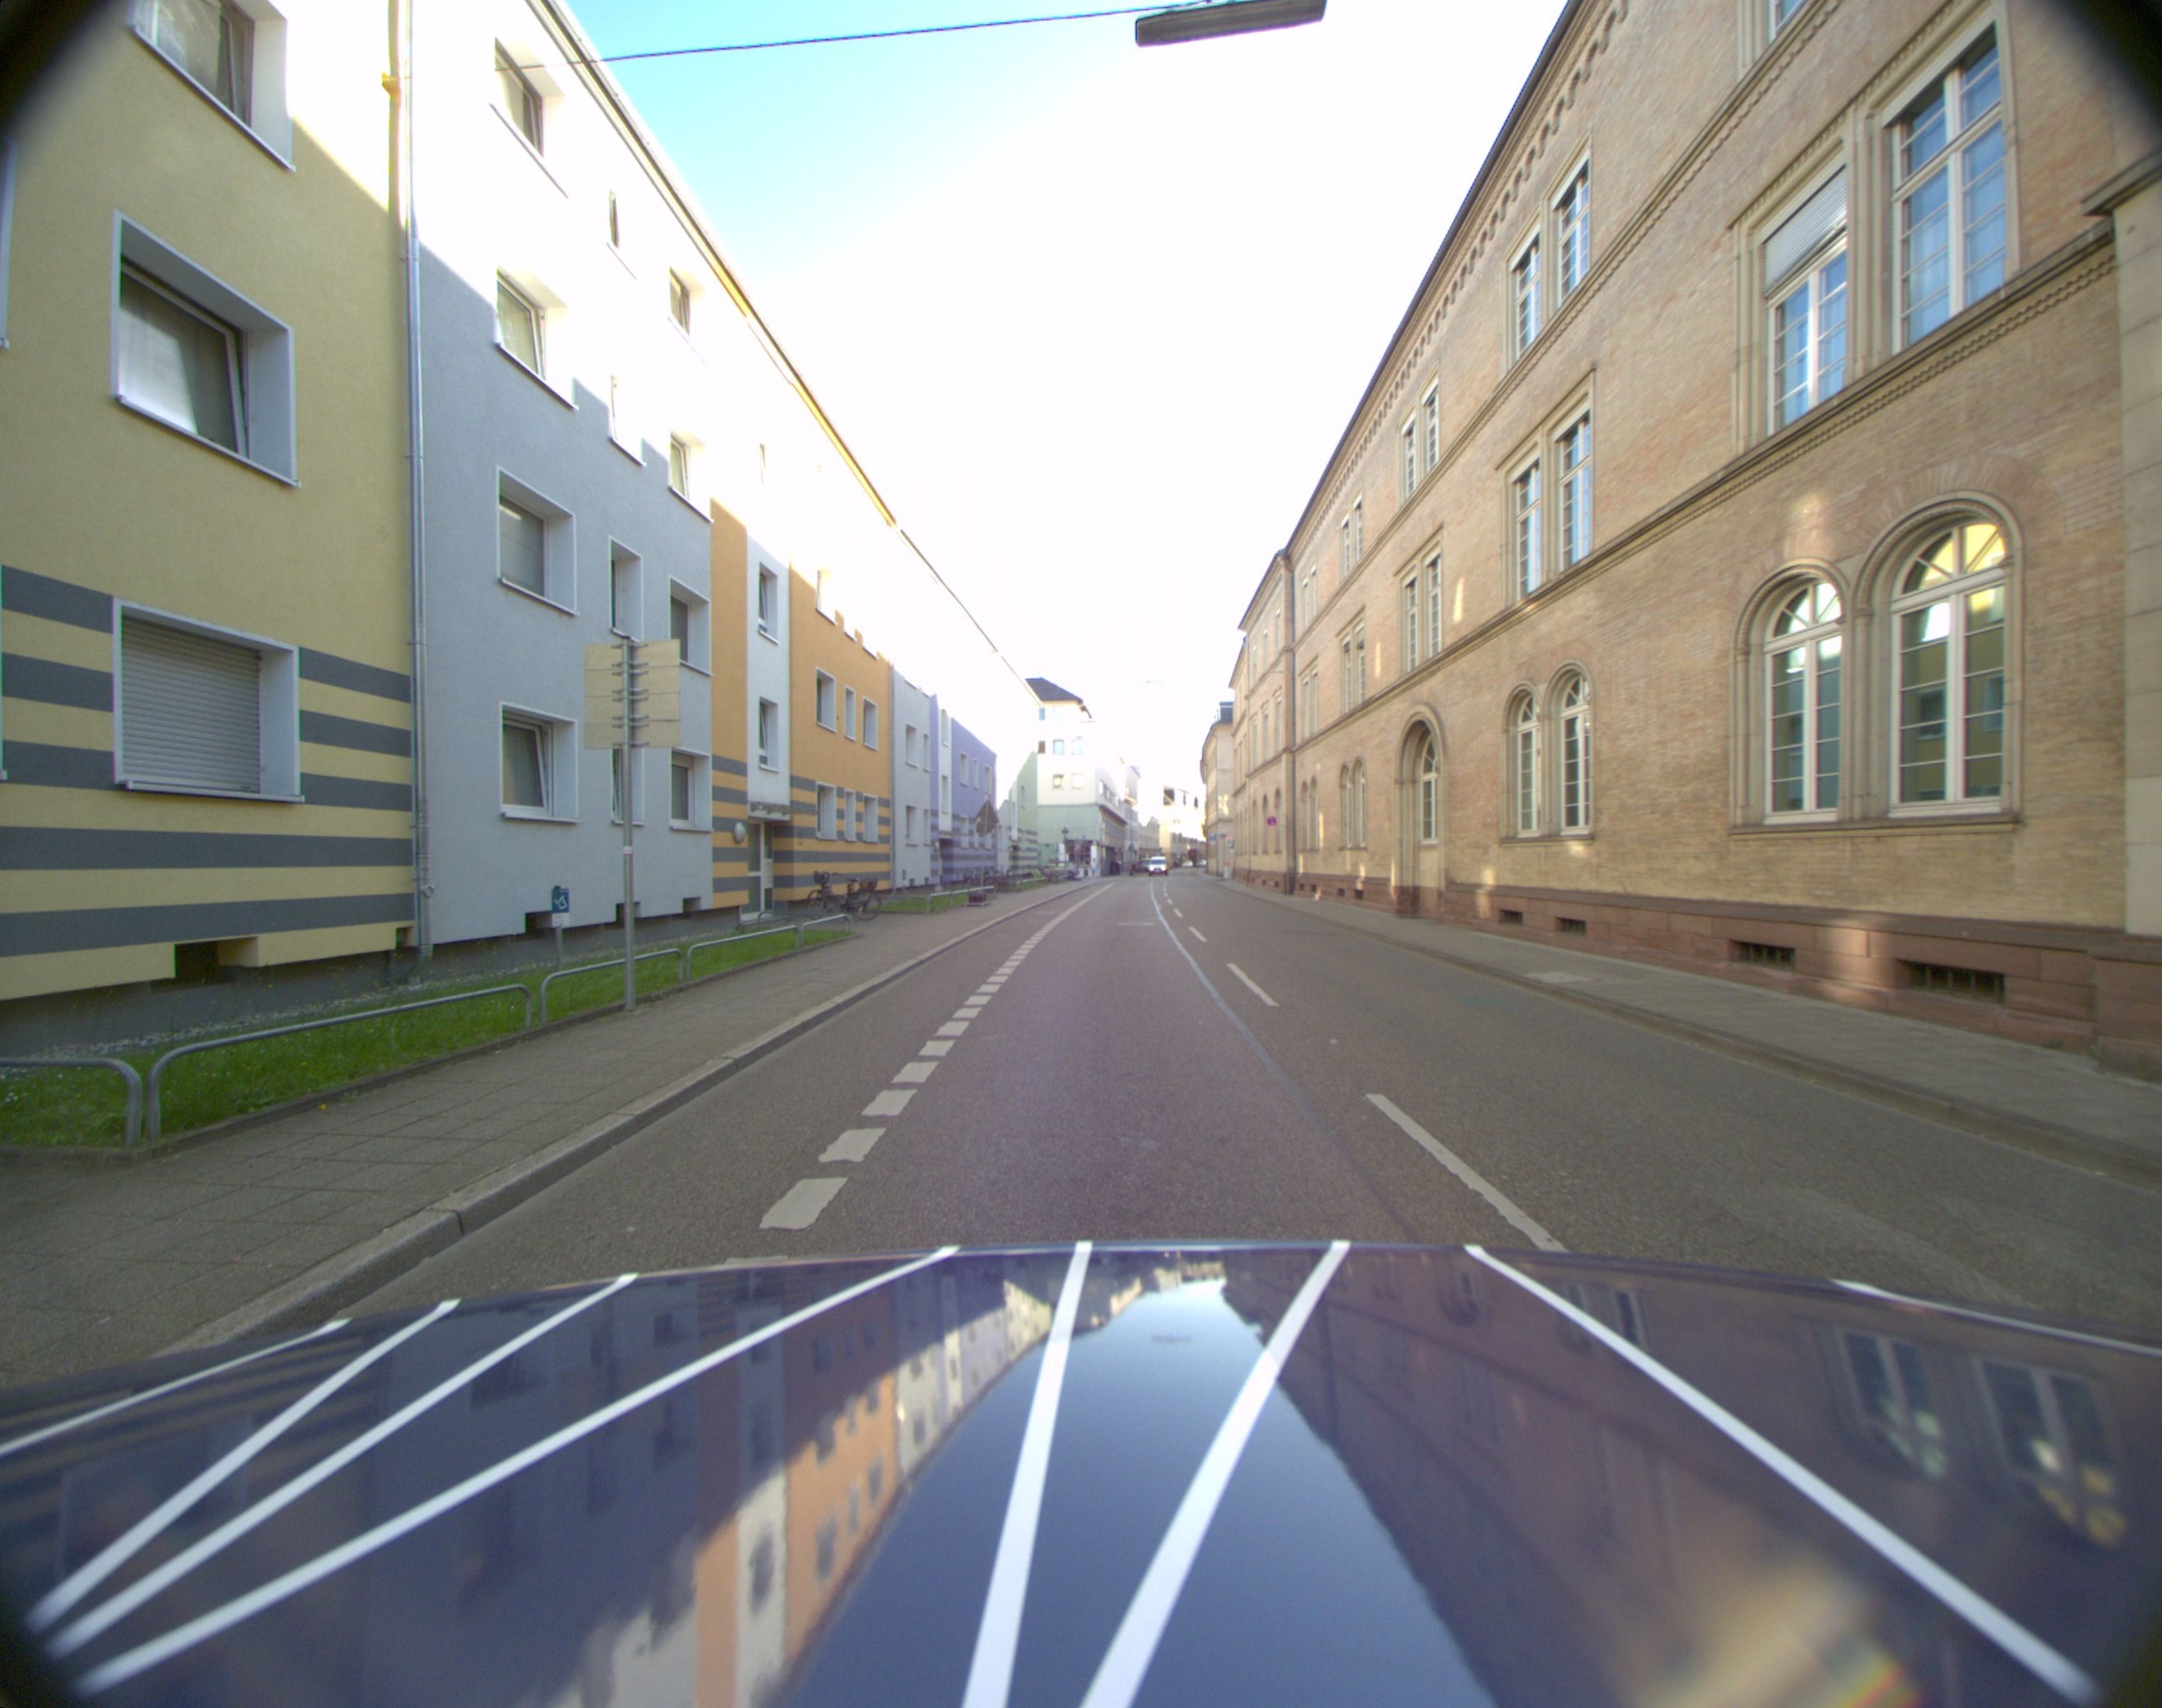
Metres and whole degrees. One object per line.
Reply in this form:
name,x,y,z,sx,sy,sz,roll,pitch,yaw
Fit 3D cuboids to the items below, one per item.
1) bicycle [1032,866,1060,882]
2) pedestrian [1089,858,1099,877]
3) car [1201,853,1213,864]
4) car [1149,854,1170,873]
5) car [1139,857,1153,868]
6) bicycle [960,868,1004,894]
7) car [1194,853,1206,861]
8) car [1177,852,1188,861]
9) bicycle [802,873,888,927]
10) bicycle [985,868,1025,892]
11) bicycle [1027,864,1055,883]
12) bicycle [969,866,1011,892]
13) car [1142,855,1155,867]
bicycle,-2.171,1.280,47.568,1.711,0.972,0.516,1,0,-2
pedestrian,1.033,1.074,60.958,0.707,1.510,0.662,-1,0,5
car,19.927,0.745,120.217,1.662,1.714,3.743,0,0,14
car,7.533,0.874,72.855,1.922,1.712,4.963,0,0,7
car,8.644,1.067,100.758,1.634,1.405,3.687,0,0,8
bicycle,-4.150,1.124,31.846,1.710,1.039,0.636,1,0,2
car,25.682,0.728,163.669,1.925,1.714,4.236,0,0,19
car,19.942,0.548,149.637,1.534,1.714,3.743,0,0,16
bicycle,-5.289,1.025,17.093,1.711,1.152,0.636,1,0,-2
bicycle,-3.389,1.149,33.749,1.711,1.029,0.636,1,0,-2
bicycle,-2.418,1.184,46.108,1.711,1.097,0.584,1,0,-2
bicycle,-3.948,1.072,32.988,1.710,1.075,0.636,1,0,1
car,9.471,0.953,106.033,1.535,1.714,3.741,0,0,8
